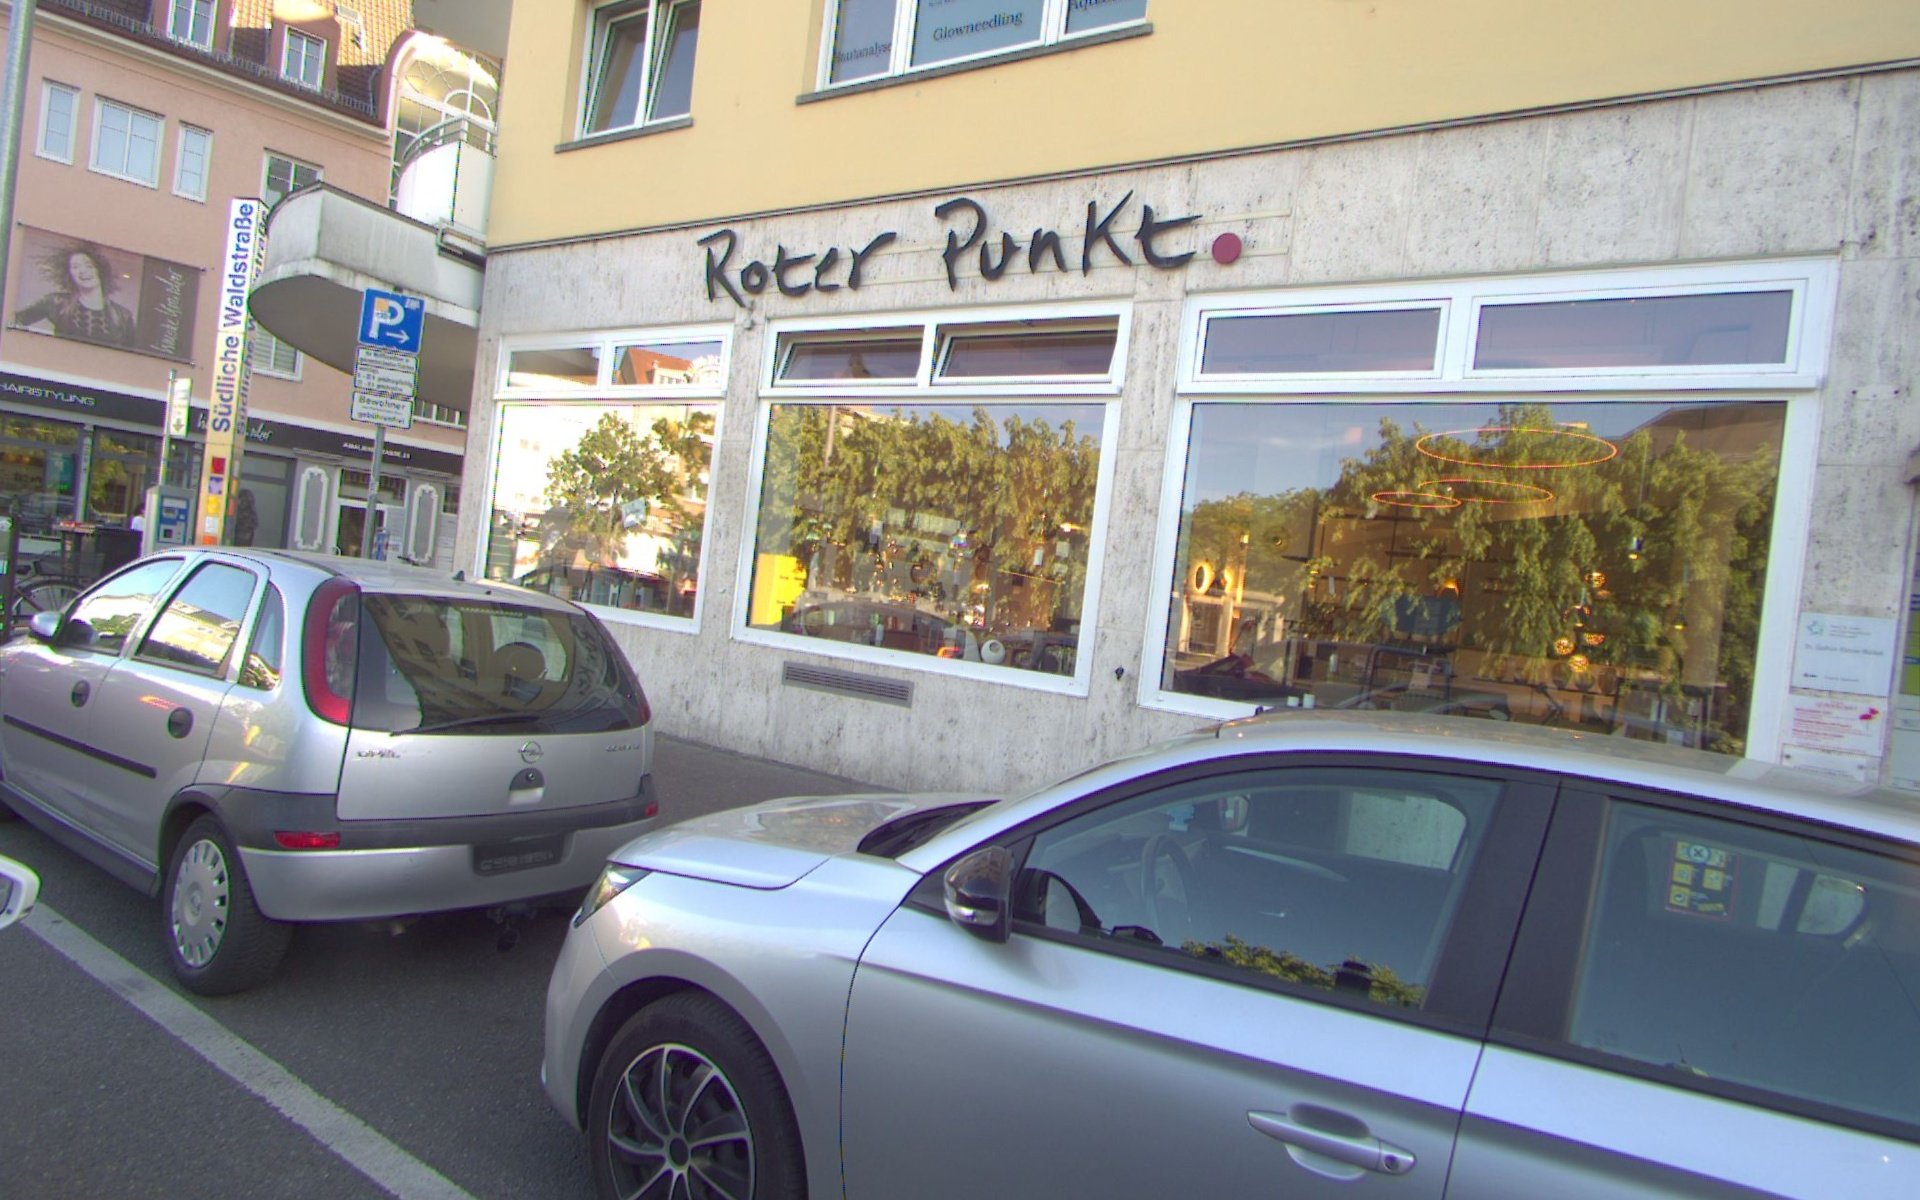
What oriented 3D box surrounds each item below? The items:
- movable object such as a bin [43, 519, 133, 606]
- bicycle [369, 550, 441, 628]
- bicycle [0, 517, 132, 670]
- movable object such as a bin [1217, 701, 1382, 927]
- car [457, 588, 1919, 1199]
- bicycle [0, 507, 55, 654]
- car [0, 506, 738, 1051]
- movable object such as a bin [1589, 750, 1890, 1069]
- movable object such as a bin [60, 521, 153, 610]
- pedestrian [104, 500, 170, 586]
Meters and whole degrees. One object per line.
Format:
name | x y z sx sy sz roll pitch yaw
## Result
movable object such as a bin | -12.427 -0.530 14.346 0.617 1.105 0.734 6 -1 34
bicycle | -9.964 -0.216 18.018 0.656 1.213 2.187 7 -1 -39
bicycle | -8.095 -0.087 8.225 0.681 1.208 1.885 8 1 37
movable object such as a bin | 1.877 1.117 5.518 0.592 1.041 0.811 7 0 32
car | 0.789 0.925 2.306 3.643 1.415 1.653 7 -1 30
bicycle | -9.100 -0.238 8.698 0.778 1.284 1.721 7 1 37
car | -2.932 0.477 4.458 3.583 1.397 1.616 7 -2 32
movable object such as a bin | 3.387 1.289 4.477 0.879 1.066 0.751 7 0 32
movable object such as a bin | -11.892 -0.472 14.025 0.617 1.105 0.754 6 -1 34
pedestrian | -16.184 -1.118 19.802 0.741 1.571 0.694 7 0 -30
